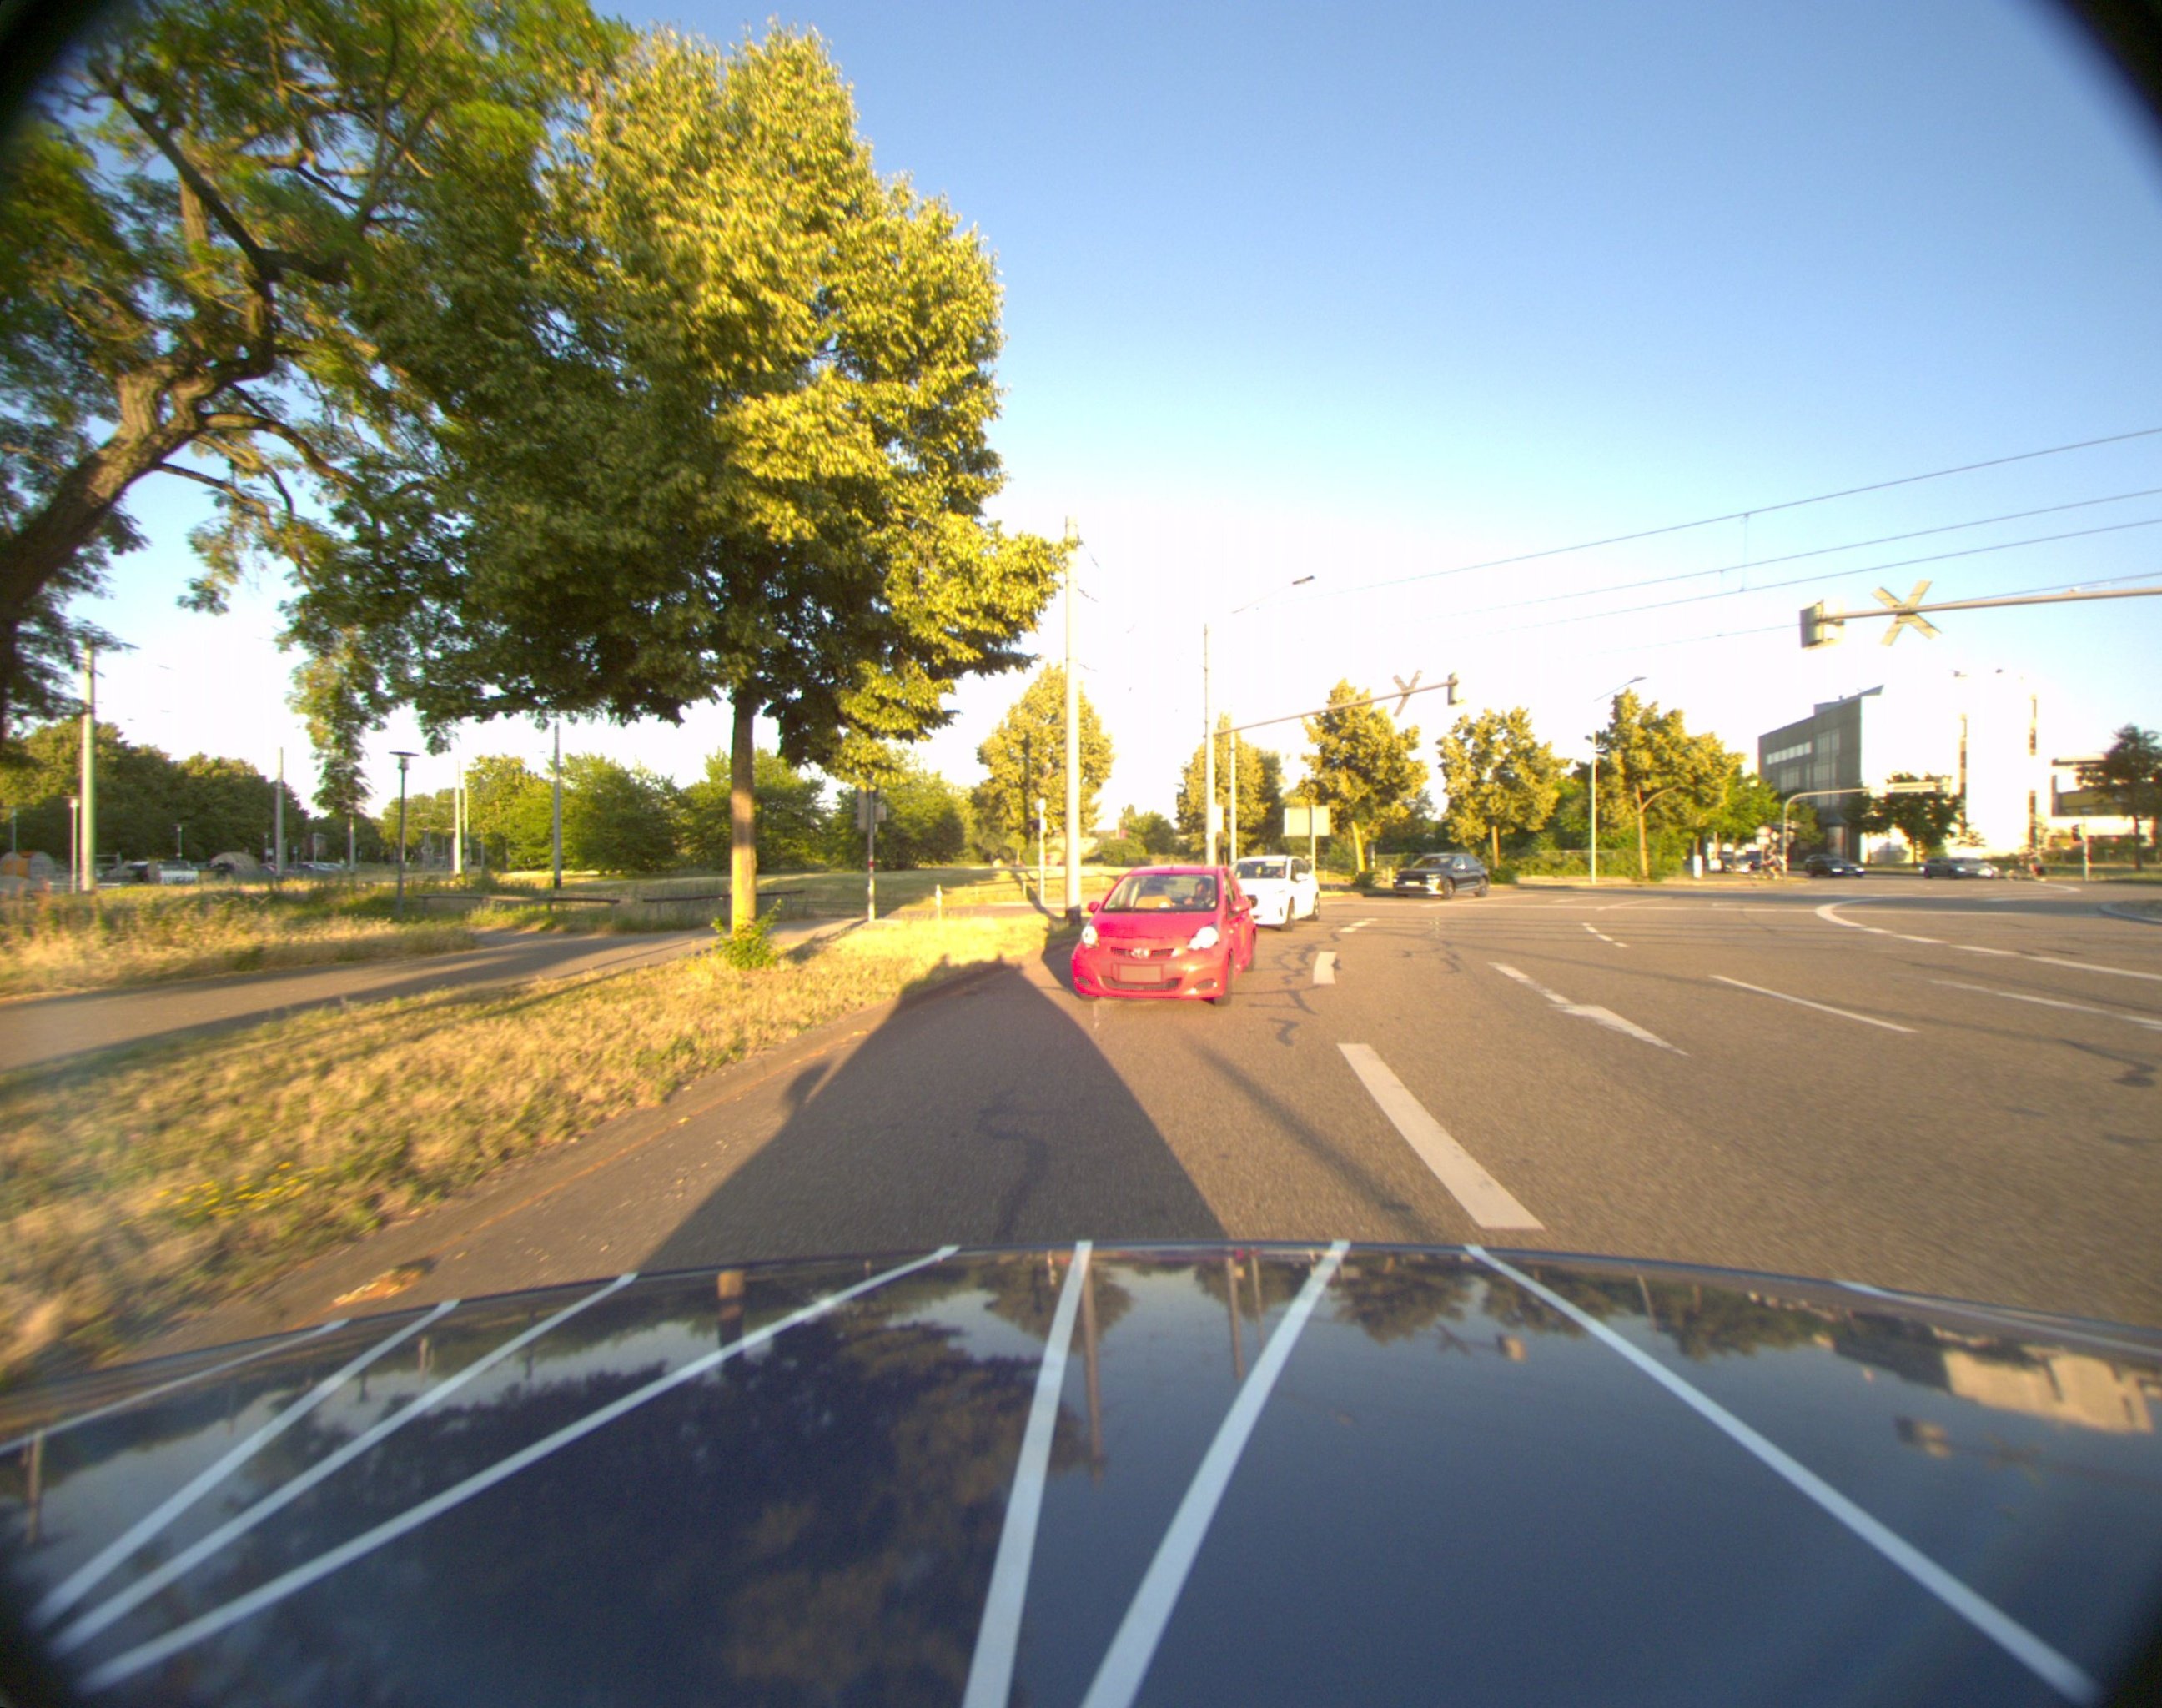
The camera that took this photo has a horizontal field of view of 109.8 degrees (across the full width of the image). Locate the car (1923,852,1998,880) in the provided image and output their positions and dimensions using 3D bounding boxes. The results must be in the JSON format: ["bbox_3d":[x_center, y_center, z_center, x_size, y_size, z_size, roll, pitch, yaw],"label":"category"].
[{"bbox_3d":[55.564,0.730,48.095,1.868,1.616,4.201,0,1,30],"label":"car"}]

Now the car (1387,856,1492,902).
[{"bbox_3d":[13.053,0.836,27.537,4.223,1.549,1.823,0,0,-40],"label":"car"}]

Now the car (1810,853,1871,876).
[{"bbox_3d":[56.245,0.740,56.368,1.868,1.616,4.200,0,0,25],"label":"car"}]

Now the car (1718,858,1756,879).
[{"bbox_3d":[58.264,1.259,67.537,1.868,1.740,3.859,0,1,30],"label":"car"}]

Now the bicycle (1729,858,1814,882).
[{"bbox_3d":[40.826,0.946,44.992,3.530,1.387,1.125,0,1,22],"label":"bicycle"}]

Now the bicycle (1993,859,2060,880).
[{"bbox_3d":[54.358,0.904,43.727,2.324,1.172,0.812,0,1,20],"label":"bicycle"}]

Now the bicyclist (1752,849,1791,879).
[{"bbox_3d":[40.855,0.583,44.956,1.414,1.739,1.125,0,1,22],"label":"bicyclist"}]

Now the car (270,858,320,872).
[{"bbox_3d":[-84.678,1.193,81.887,3.620,1.473,1.706,1,-2,-43],"label":"car"}]

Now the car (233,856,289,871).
[{"bbox_3d":[-80.566,0.950,74.705,3.620,1.473,1.706,1,-2,-43],"label":"car"}]

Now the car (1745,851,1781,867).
[{"bbox_3d":[71.107,0.508,79.299,1.868,1.616,4.200,0,1,28],"label":"car"}]

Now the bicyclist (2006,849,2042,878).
[{"bbox_3d":[54.275,0.540,43.742,0.998,1.623,0.812,0,1,20],"label":"bicyclist"}]

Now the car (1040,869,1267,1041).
[{"bbox_3d":[1.117,0.948,8.976,1.691,1.413,4.217,-1,0,19],"label":"car"}]

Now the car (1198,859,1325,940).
[{"bbox_3d":[4.137,0.892,16.896,1.755,1.549,4.223,0,0,28],"label":"car"}]
